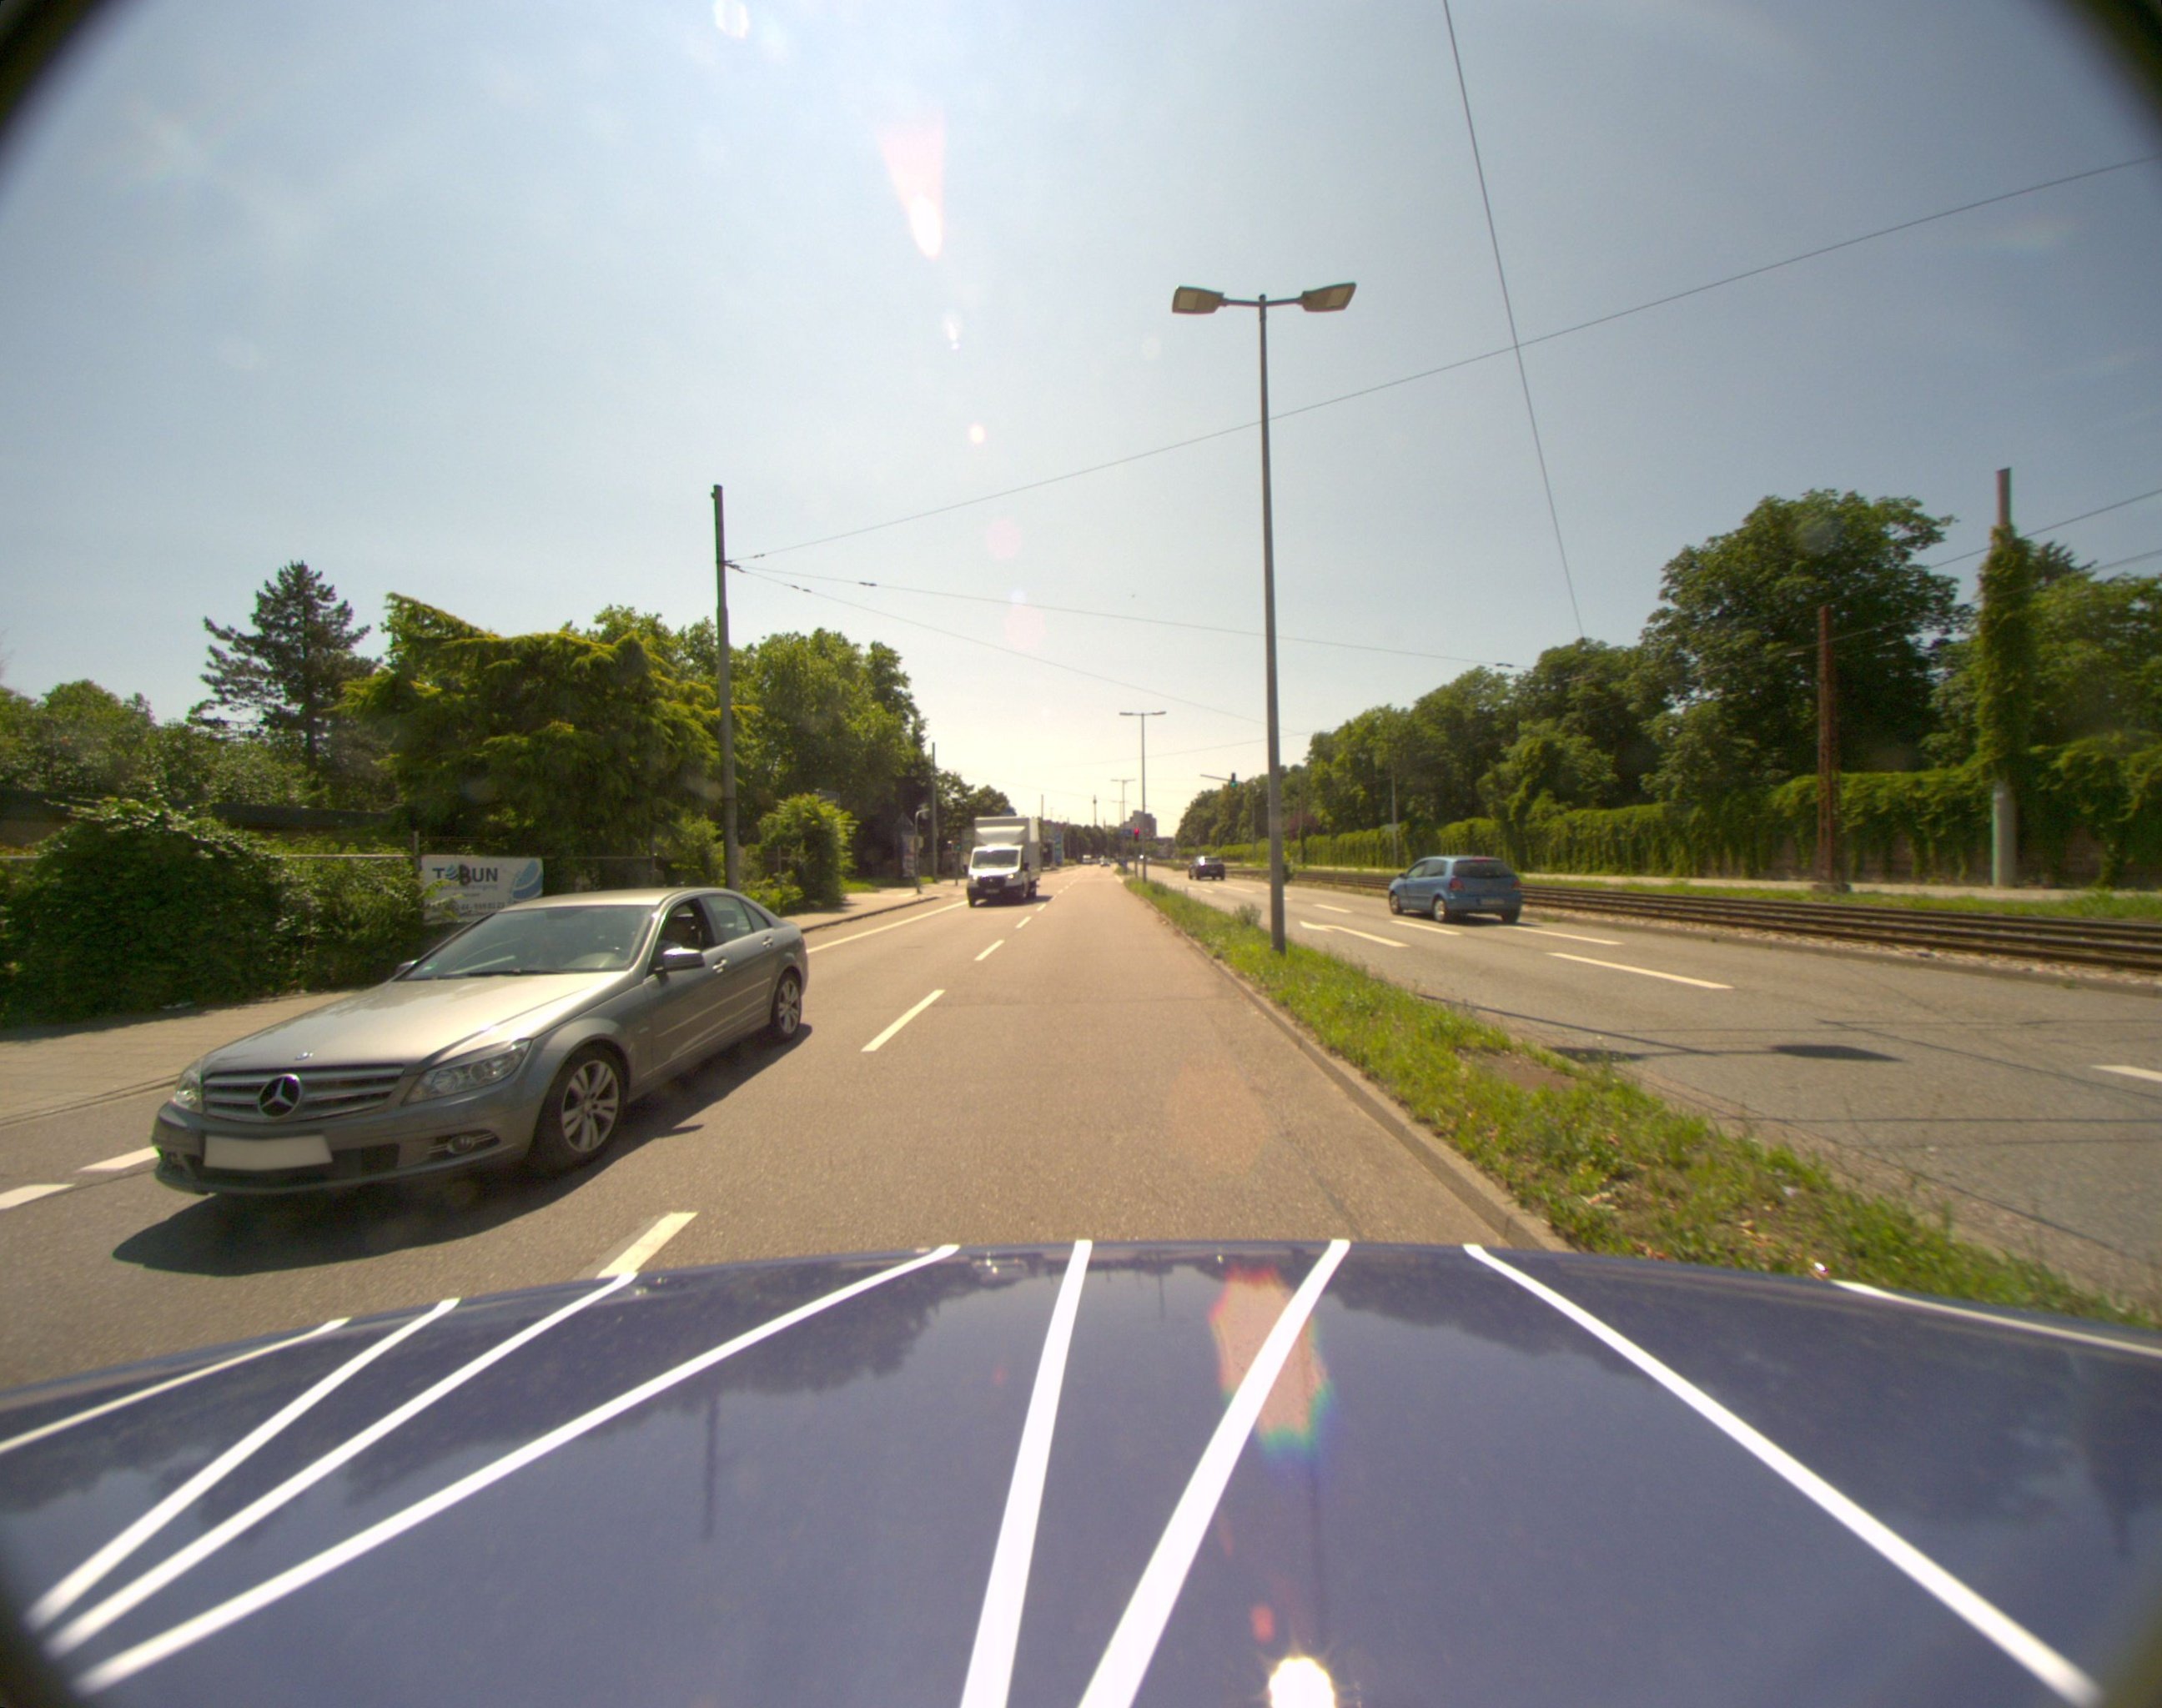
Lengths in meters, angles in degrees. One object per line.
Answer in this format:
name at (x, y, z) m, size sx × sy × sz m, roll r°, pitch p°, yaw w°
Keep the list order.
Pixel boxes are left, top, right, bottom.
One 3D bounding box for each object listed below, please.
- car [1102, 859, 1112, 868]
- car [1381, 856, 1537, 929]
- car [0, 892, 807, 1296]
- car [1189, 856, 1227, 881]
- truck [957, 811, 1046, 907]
car at (4.927, 1.773, 142.889) m, size 1.829 × 1.556 × 4.001 m, roll -2°, pitch 0°, yaw 3°
car at (8.414, 0.789, 17.296) m, size 1.699 × 1.462 × 3.790 m, roll -1°, pitch 0°, yaw 1°
car at (-3.579, 1.099, 5.137) m, size 1.903 × 1.451 × 3.971 m, roll -2°, pitch 0°, yaw 1°
car at (8.214, 0.921, 49.478) m, size 1.766 × 1.512 × 4.096 m, roll -1°, pitch 0°, yaw 0°
truck at (-2.961, 0.149, 30.606) m, size 2.294 × 3.259 × 8.312 m, roll -2°, pitch 0°, yaw 2°
